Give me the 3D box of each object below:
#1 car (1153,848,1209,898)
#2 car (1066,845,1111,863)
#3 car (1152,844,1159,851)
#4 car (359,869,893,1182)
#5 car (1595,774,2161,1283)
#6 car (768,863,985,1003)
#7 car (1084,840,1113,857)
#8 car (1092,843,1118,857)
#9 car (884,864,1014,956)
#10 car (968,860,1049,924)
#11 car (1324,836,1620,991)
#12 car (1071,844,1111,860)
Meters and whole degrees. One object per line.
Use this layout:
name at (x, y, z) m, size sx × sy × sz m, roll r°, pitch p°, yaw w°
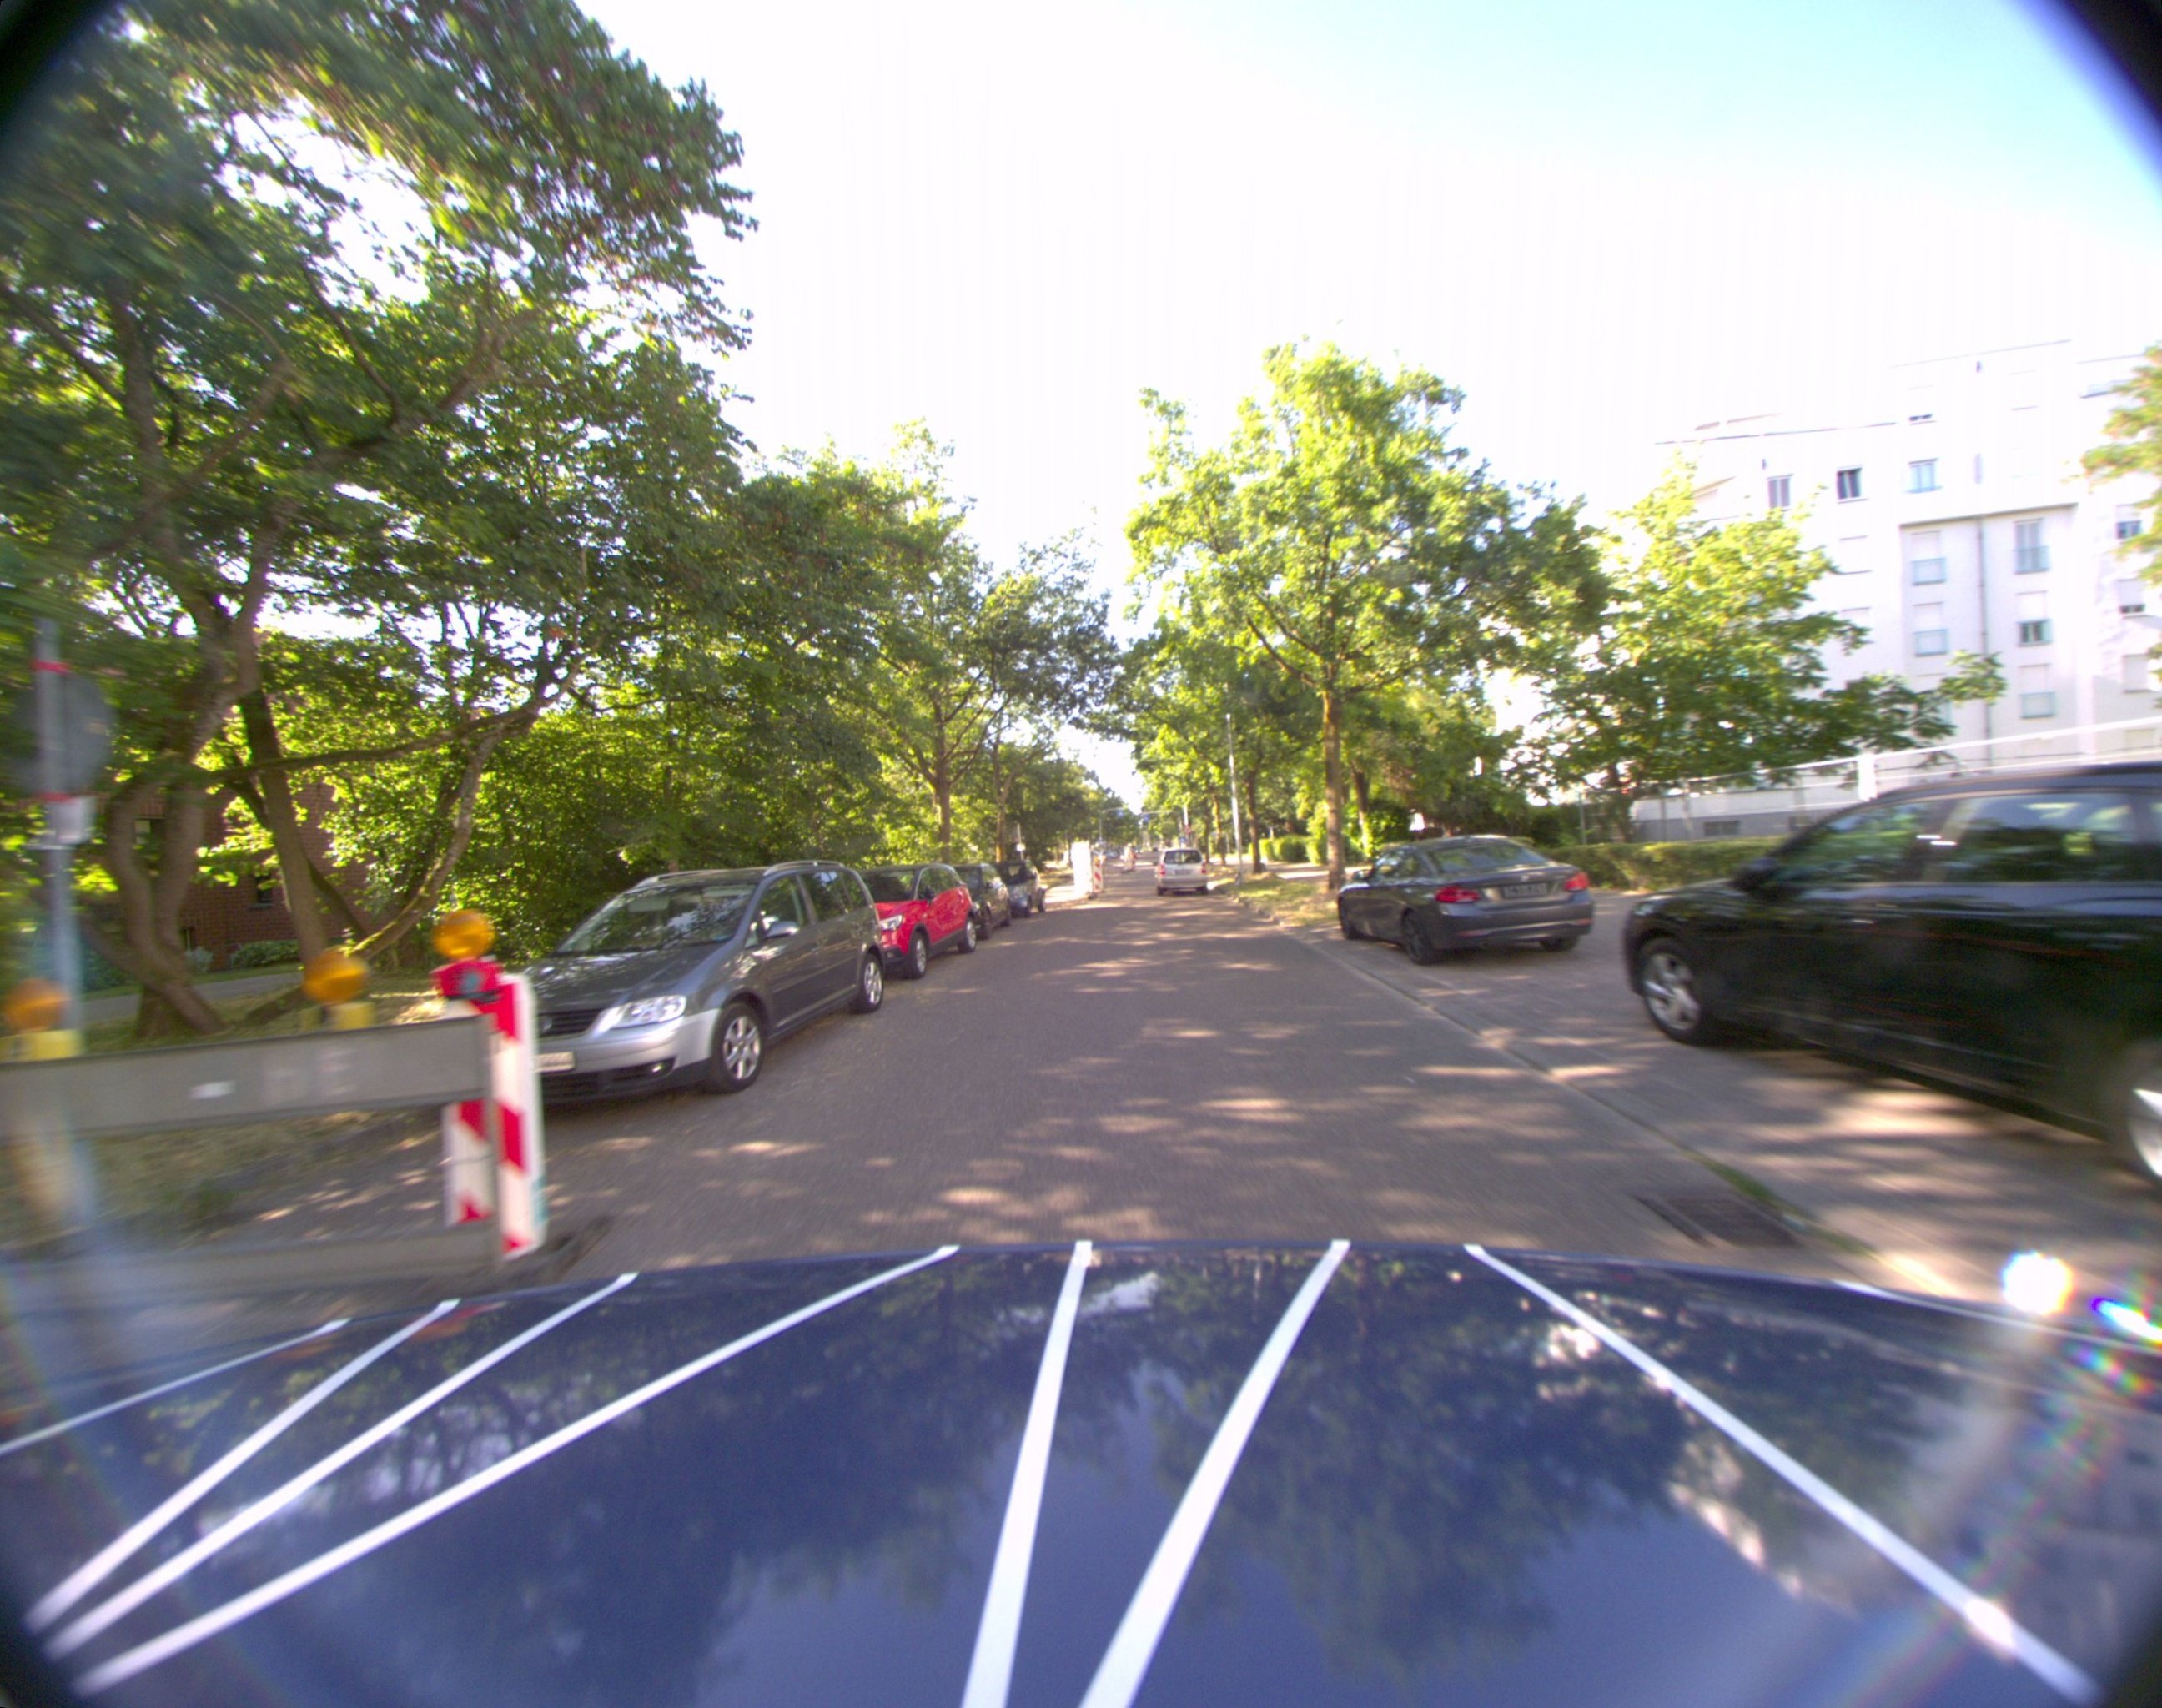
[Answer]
car at (3.459, 0.608, 26.829) m, size 1.663 × 1.587 × 4.009 m, roll -2°, pitch 1°, yaw 4°
car at (0.948, -0.018, 94.211) m, size 5.267 × 1.993 × 2.000 m, roll -3°, pitch 0°, yaw 4°
car at (23.597, -2.062, 240.265) m, size 1.997 × 1.805 × 4.002 m, roll -4°, pitch 0°, yaw 8°
car at (-3.196, 1.061, 6.505) m, size 1.682 × 1.612 × 4.138 m, roll -5°, pitch 0°, yaw 5°
car at (4.447, 0.503, 3.327) m, size 1.779 × 1.612 × 4.222 m, roll -6°, pitch 0°, yaw 7°
car at (-2.852, 1.035, 11.618) m, size 1.682 × 1.565 × 4.068 m, roll -5°, pitch 0°, yaw 7°
car at (2.820, -0.924, 121.581) m, size 4.410 × 2.531 × 1.889 m, roll -3°, pitch 1°, yaw 2°
car at (4.038, -0.657, 126.757) m, size 4.243 × 1.993 × 1.566 m, roll -3°, pitch 1°, yaw 2°
car at (-2.632, 1.071, 16.169) m, size 1.716 × 1.500 × 4.150 m, roll -5°, pitch 0°, yaw 3°
car at (-1.937, 0.991, 20.891) m, size 1.497 × 1.500 × 2.678 m, roll -5°, pitch 0°, yaw 8°
car at (4.643, 0.599, 9.814) m, size 1.720 × 1.424 × 4.138 m, roll -6°, pitch 0°, yaw 2°
car at (1.459, -0.309, 109.404) m, size 5.581 × 1.993 × 2.000 m, roll -3°, pitch 0°, yaw 2°
